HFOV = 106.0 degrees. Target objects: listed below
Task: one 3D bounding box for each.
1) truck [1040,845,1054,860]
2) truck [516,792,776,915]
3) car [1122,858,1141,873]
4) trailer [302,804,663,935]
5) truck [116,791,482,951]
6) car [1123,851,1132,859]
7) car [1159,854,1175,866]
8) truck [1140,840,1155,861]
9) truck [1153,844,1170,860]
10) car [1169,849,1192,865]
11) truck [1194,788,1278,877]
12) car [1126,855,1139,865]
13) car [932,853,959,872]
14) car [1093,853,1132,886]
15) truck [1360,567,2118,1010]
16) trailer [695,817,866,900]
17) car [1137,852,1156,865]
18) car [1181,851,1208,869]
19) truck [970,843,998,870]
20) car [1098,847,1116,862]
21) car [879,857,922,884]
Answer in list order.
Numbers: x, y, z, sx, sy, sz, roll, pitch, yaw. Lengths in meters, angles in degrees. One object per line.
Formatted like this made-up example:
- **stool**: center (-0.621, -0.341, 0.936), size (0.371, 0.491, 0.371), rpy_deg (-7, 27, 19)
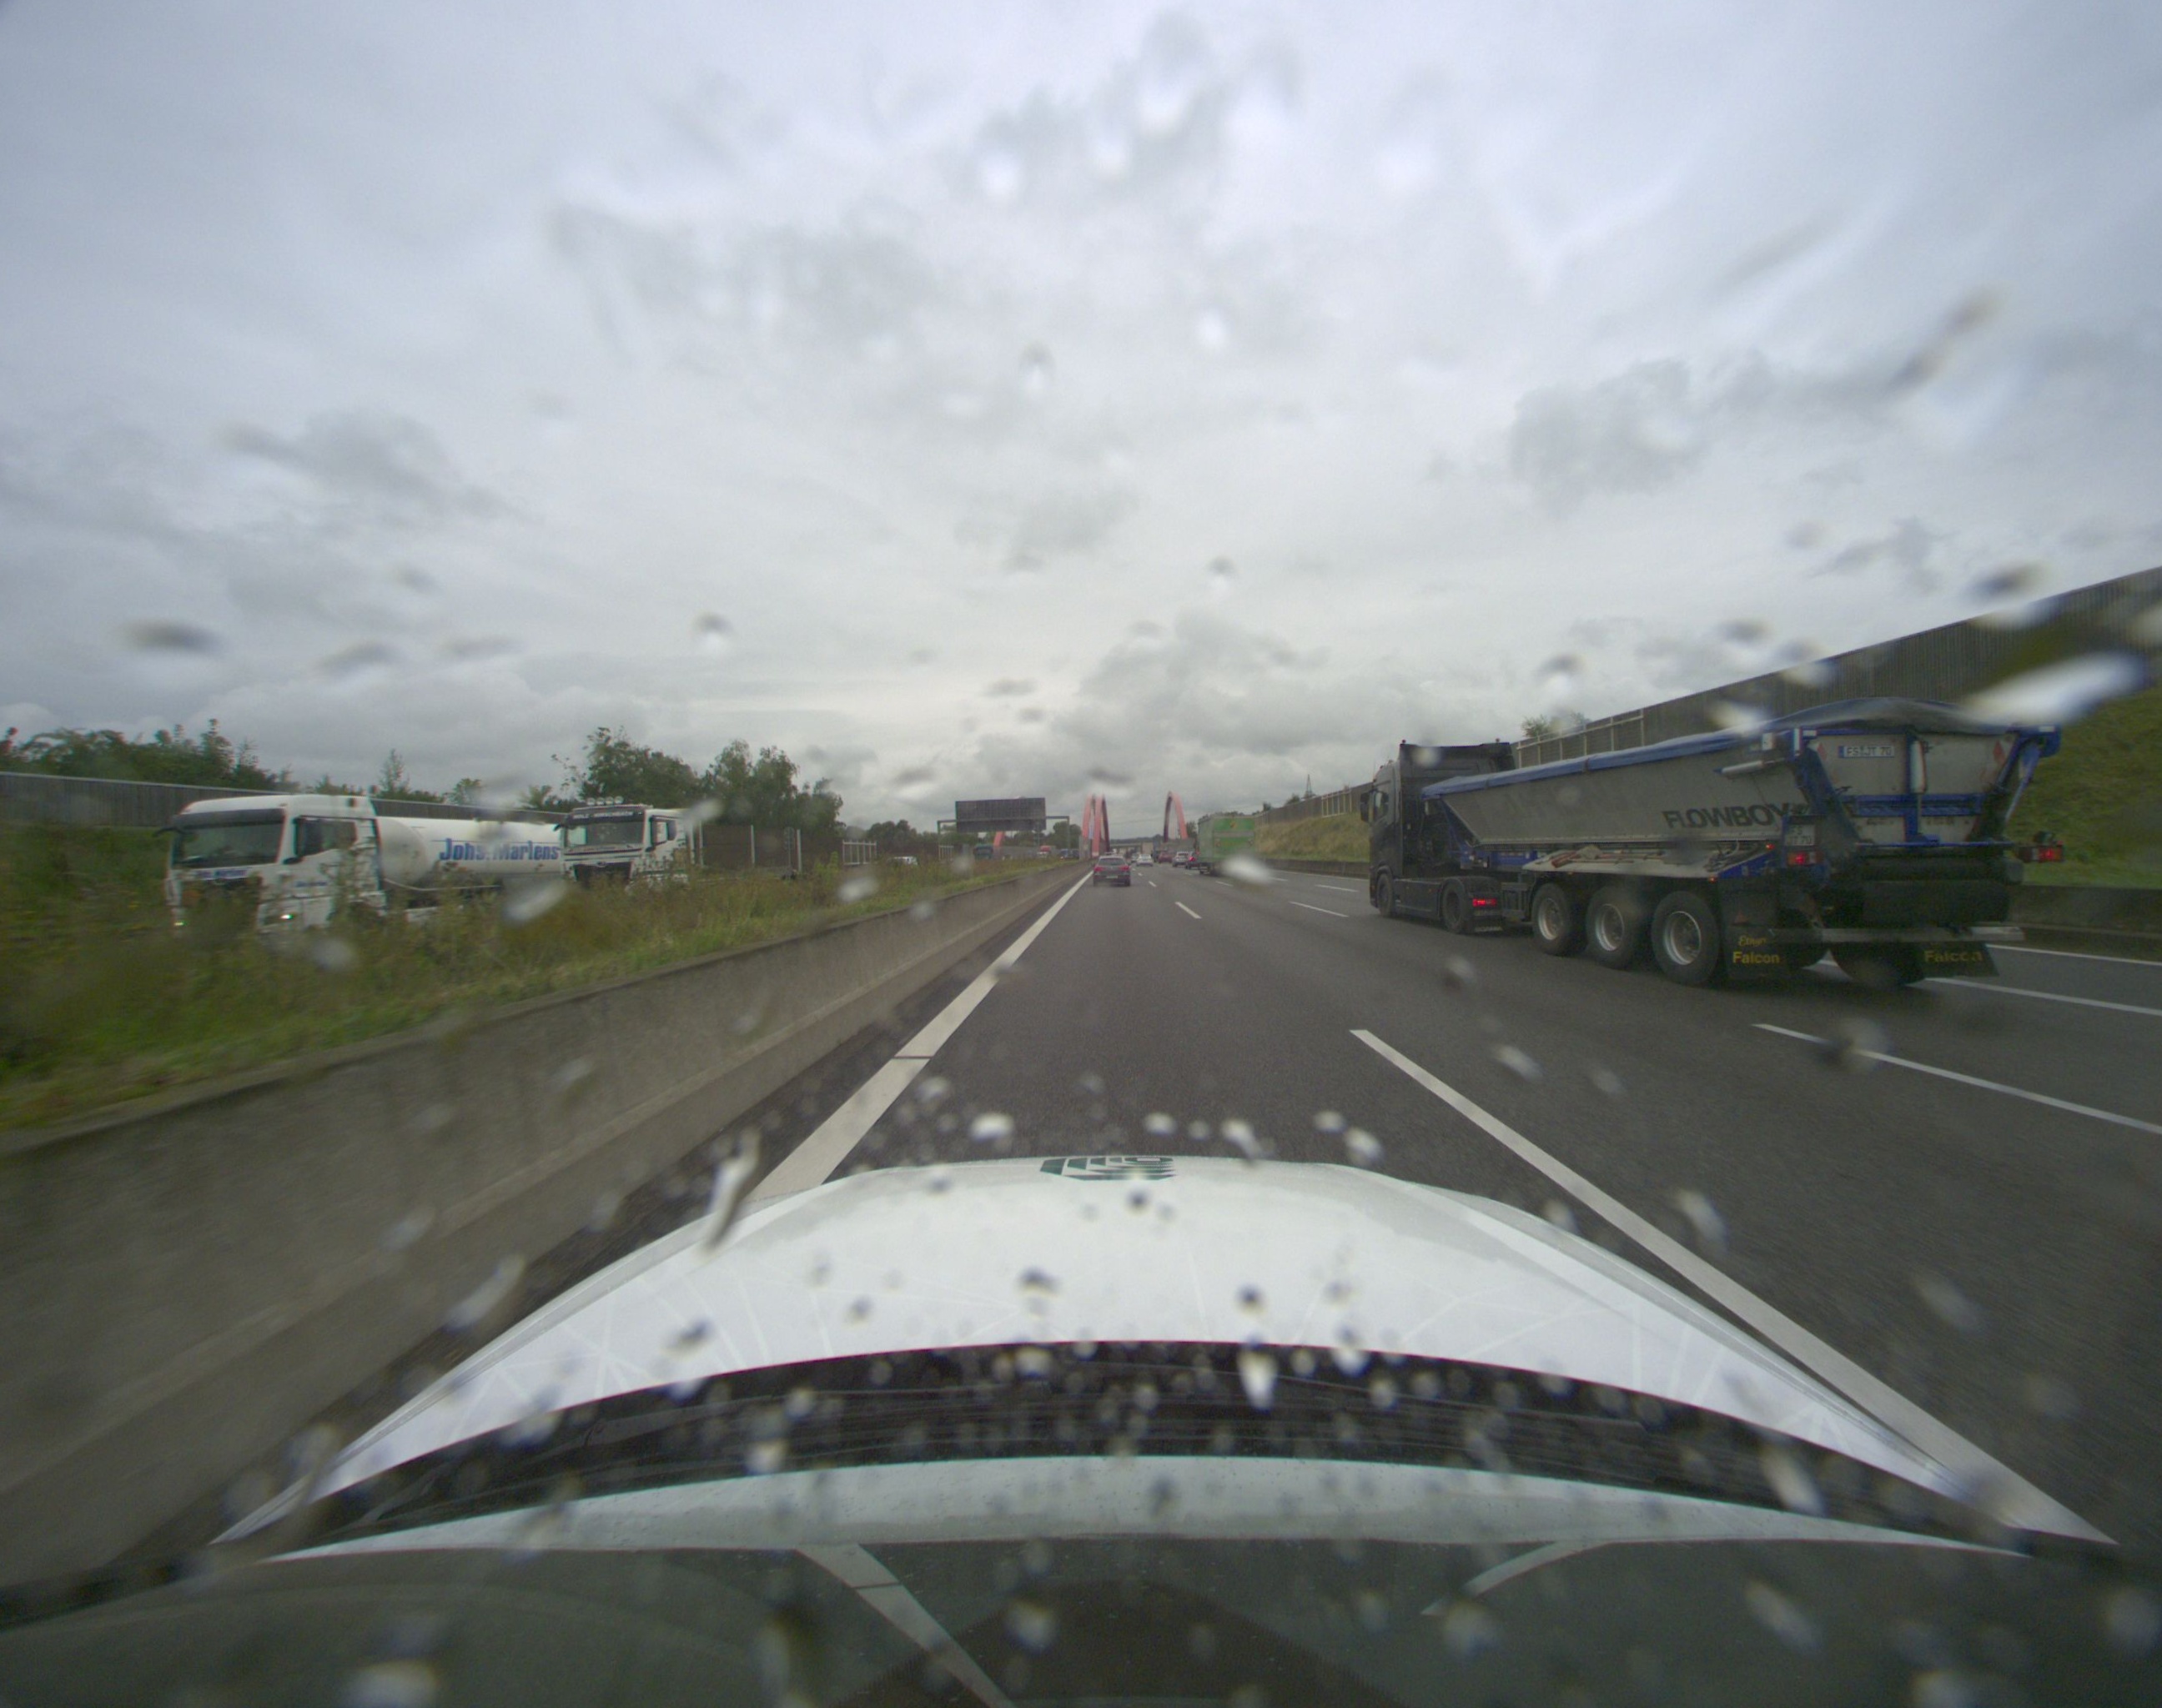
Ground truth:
- **truck**: center (-8.933, -0.484, 213.798), size (2.973, 3.753, 5.920), rpy_deg (-1, 0, 2)
- **truck**: center (-12.558, -0.010, 24.801), size (2.944, 3.067, 8.732), rpy_deg (0, 0, 2)
- **car**: center (5.045, 1.097, 81.675), size (1.775, 1.406, 3.628), rpy_deg (-1, 0, 2)
- **trailer**: center (-16.684, 0.345, 24.327), size (2.602, 2.989, 10.799), rpy_deg (-1, 0, 1)
- **truck**: center (-16.864, 0.324, 18.212), size (2.611, 3.019, 5.616), rpy_deg (0, 0, 2)
- **car**: center (10.784, 0.155, 187.929), size (1.985, 1.815, 4.003), rpy_deg (-1, 0, 2)
- **car**: center (12.295, 0.891, 116.813), size (1.950, 1.647, 4.002), rpy_deg (0, 0, 2)
- **truck**: center (15.539, -0.791, 190.604), size (3.032, 4.734, 7.685), rpy_deg (0, 0, 3)
- **truck**: center (12.948, -0.277, 131.687), size (2.351, 2.506, 6.148), rpy_deg (-1, 0, 3)
- **car**: center (10.596, 0.279, 87.222), size (1.986, 1.619, 5.330), rpy_deg (0, 0, 2)
- **truck**: center (10.044, -1.283, 54.272), size (3.981, 5.266, 11.227), rpy_deg (0, 0, 3)
- **car**: center (7.805, 0.898, 123.511), size (1.696, 1.543, 3.839), rpy_deg (-1, 0, 1)
- **car**: center (-14.623, 0.884, 88.041), size (1.986, 2.013, 4.654), rpy_deg (-1, 0, 2)
- **car**: center (1.513, 0.697, 38.634), size (1.756, 1.453, 4.003), rpy_deg (-1, 0, 3)
- **truck**: center (8.047, -0.583, 13.649), size (2.802, 3.950, 12.719), rpy_deg (0, 0, 2)
- **trailer**: center (-12.200, 0.170, 34.517), size (2.944, 2.959, 10.574), rpy_deg (0, 0, 2)
- **car**: center (7.485, 0.498, 93.642), size (1.986, 1.486, 4.002), rpy_deg (-1, 0, 2)
- **car**: center (10.382, 0.536, 75.012), size (1.906, 1.670, 4.103), rpy_deg (-1, 0, 0)
- **truck**: center (-14.137, 0.305, 119.270), size (2.851, 3.838, 7.525), rpy_deg (0, 0, 2)
- **car**: center (2.880, 0.010, 90.545), size (1.986, 1.585, 4.001), rpy_deg (-2, 0, 1)
- **car**: center (-14.502, 1.313, 65.691), size (1.899, 2.013, 5.957), rpy_deg (-1, 0, 2)
